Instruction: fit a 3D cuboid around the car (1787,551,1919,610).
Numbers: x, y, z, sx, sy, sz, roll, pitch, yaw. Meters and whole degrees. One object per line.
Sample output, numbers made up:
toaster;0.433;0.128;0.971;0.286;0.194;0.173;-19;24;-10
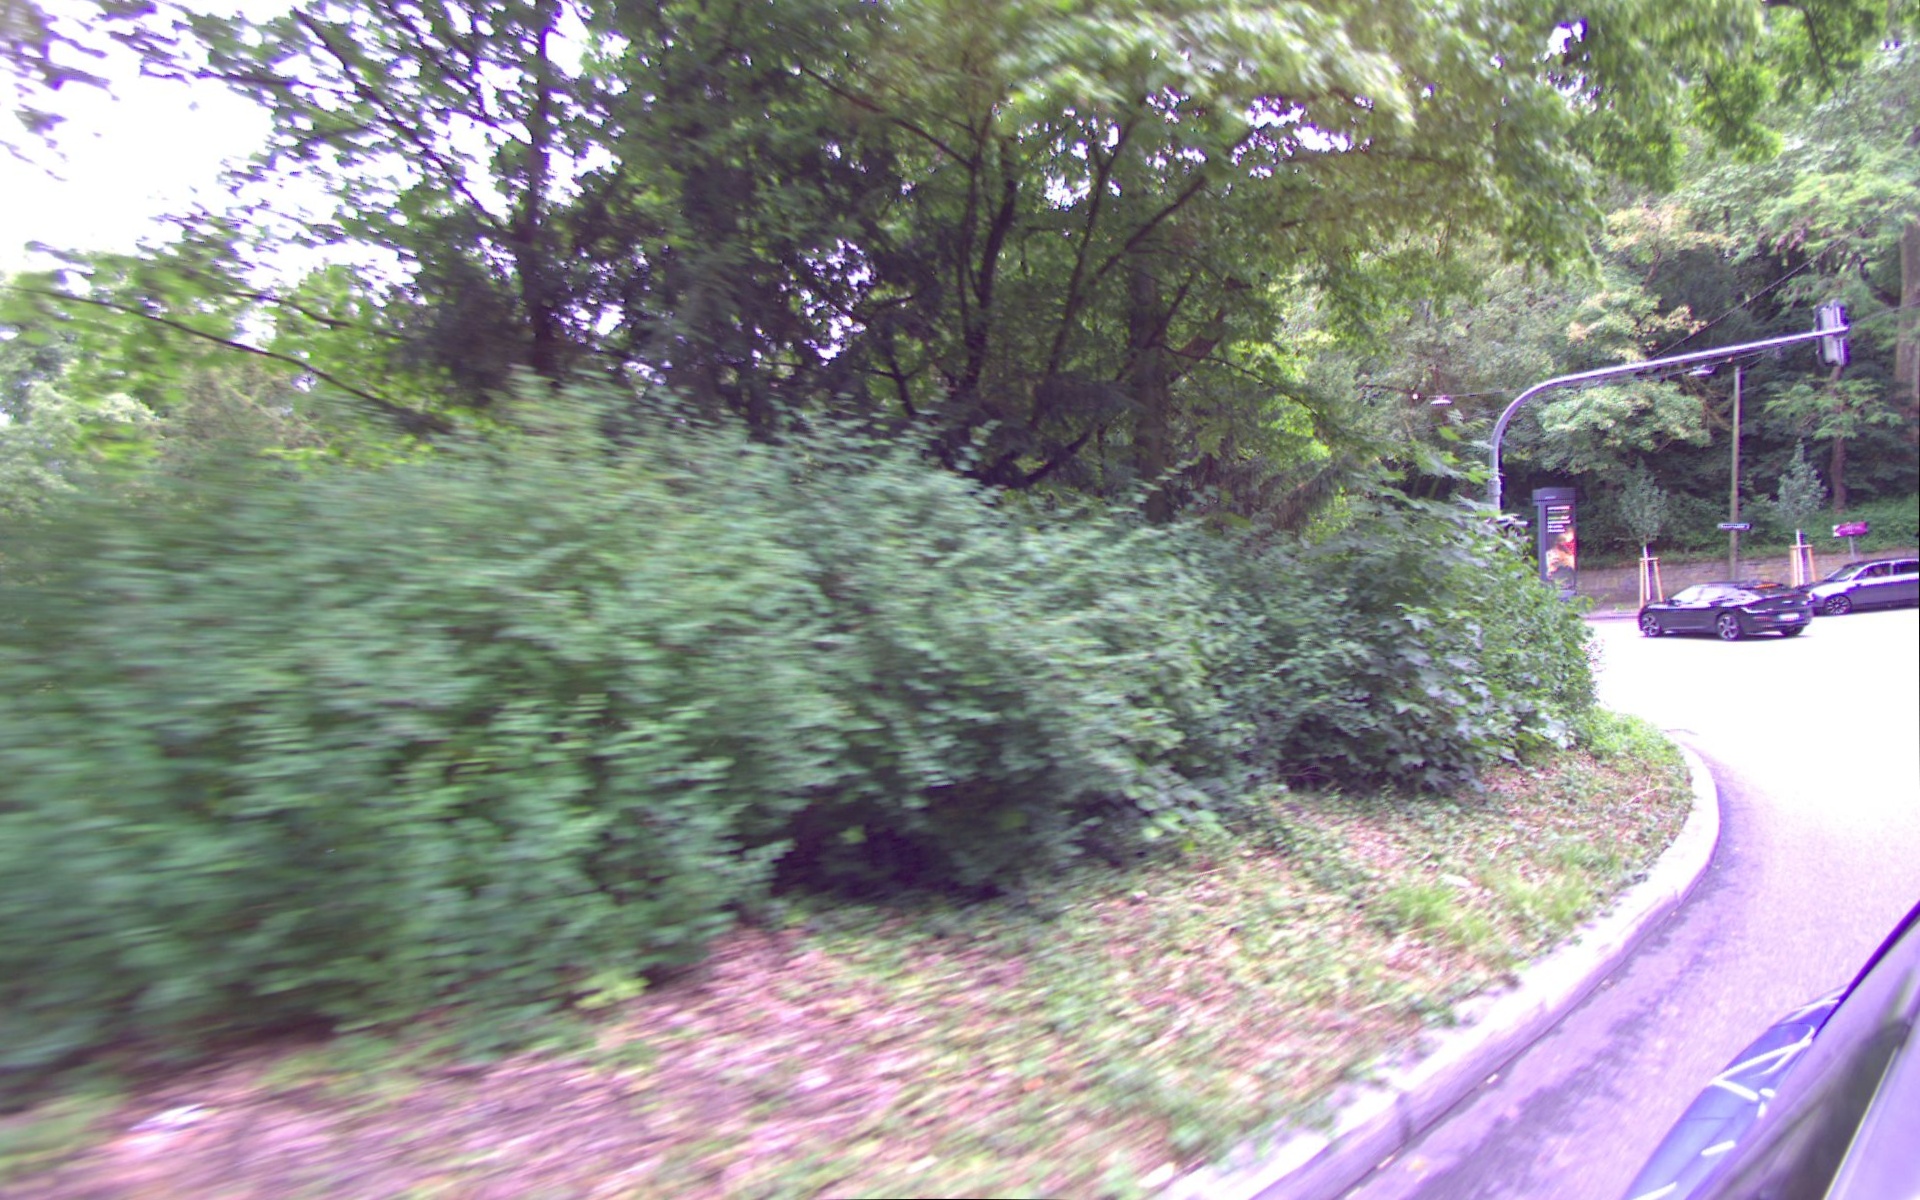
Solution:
car;27.655;-0.626;30.317;3.945;1.375;1.745;-6;1;17

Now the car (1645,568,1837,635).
car;21.187;0.058;27.719;1.605;1.562;4.398;-4;-1;-2
